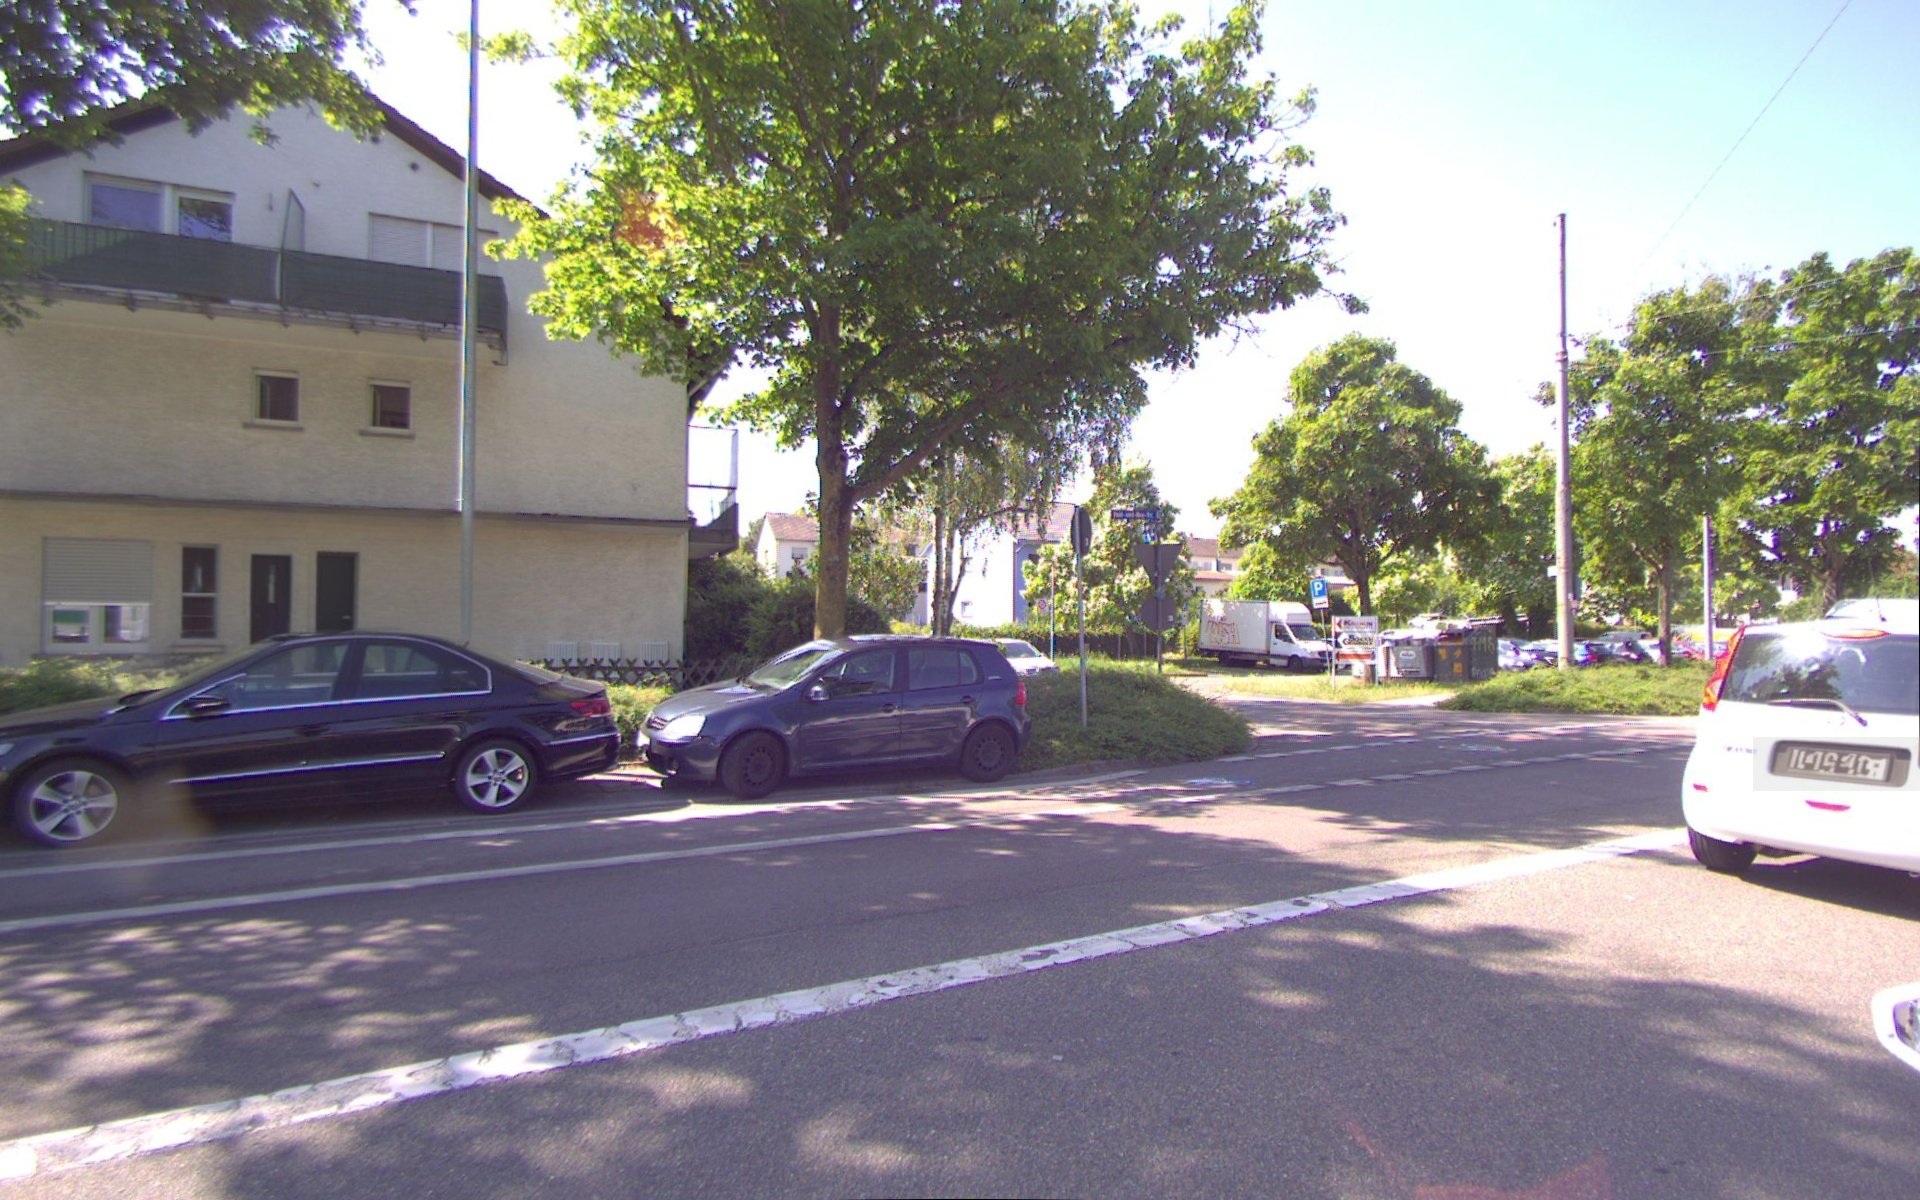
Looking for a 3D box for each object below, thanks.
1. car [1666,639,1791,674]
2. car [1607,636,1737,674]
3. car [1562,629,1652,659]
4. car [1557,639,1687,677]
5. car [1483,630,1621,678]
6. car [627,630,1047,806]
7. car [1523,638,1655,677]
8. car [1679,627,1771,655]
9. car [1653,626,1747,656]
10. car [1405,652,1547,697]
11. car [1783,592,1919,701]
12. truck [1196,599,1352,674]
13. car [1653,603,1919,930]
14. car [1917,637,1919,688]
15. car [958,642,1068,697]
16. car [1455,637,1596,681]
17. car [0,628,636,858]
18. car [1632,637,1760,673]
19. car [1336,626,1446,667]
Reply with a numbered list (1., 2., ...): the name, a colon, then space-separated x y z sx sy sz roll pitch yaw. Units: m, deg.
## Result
1. car: 33.168 2.439 43.454 1.712 1.434 3.964 2 -4 -33
2. car: 28.836 2.237 40.783 1.712 1.434 3.964 2 -4 -33
3. car: 44.549 2.981 69.256 2.043 1.811 4.762 2 0 -34
4. car: 26.357 2.322 40.096 1.712 1.434 3.964 2 -4 -33
5. car: 21.420 1.966 36.507 1.712 1.631 3.964 2 -4 -33
6. car: -1.251 1.092 10.453 3.988 1.462 1.718 1 0 -28
7. car: 24.176 2.207 38.715 1.712 1.434 3.964 2 -4 -33
8. car: 54.428 2.895 71.546 2.043 1.811 4.762 2 0 -34
9. car: 50.606 2.766 68.758 2.043 1.811 4.762 2 0 -34
10. car: 17.329 2.484 33.899 1.712 1.434 3.964 2 -4 -33
11. car: 23.800 1.135 25.775 5.745 2.550 2.114 1 0 -29
12. truck: 14.442 1.610 46.803 2.646 3.151 6.967 1 0 -30
13. car: 6.404 0.846 6.256 4.491 1.568 1.655 1 -1 -29
14. car: 29.414 1.813 28.745 4.230 1.434 1.854 1 0 -31
15. car: 1.418 1.937 28.439 1.704 1.434 3.983 1 -3 -20
16. car: 19.680 2.069 35.108 1.712 1.434 3.964 2 -4 -33
17. car: -5.242 1.002 8.331 4.568 1.434 1.854 1 0 -31
18. car: 30.747 2.327 42.084 1.712 1.434 3.964 2 -4 -33
19. car: 21.681 2.318 50.697 2.043 1.811 4.762 2 0 -34
